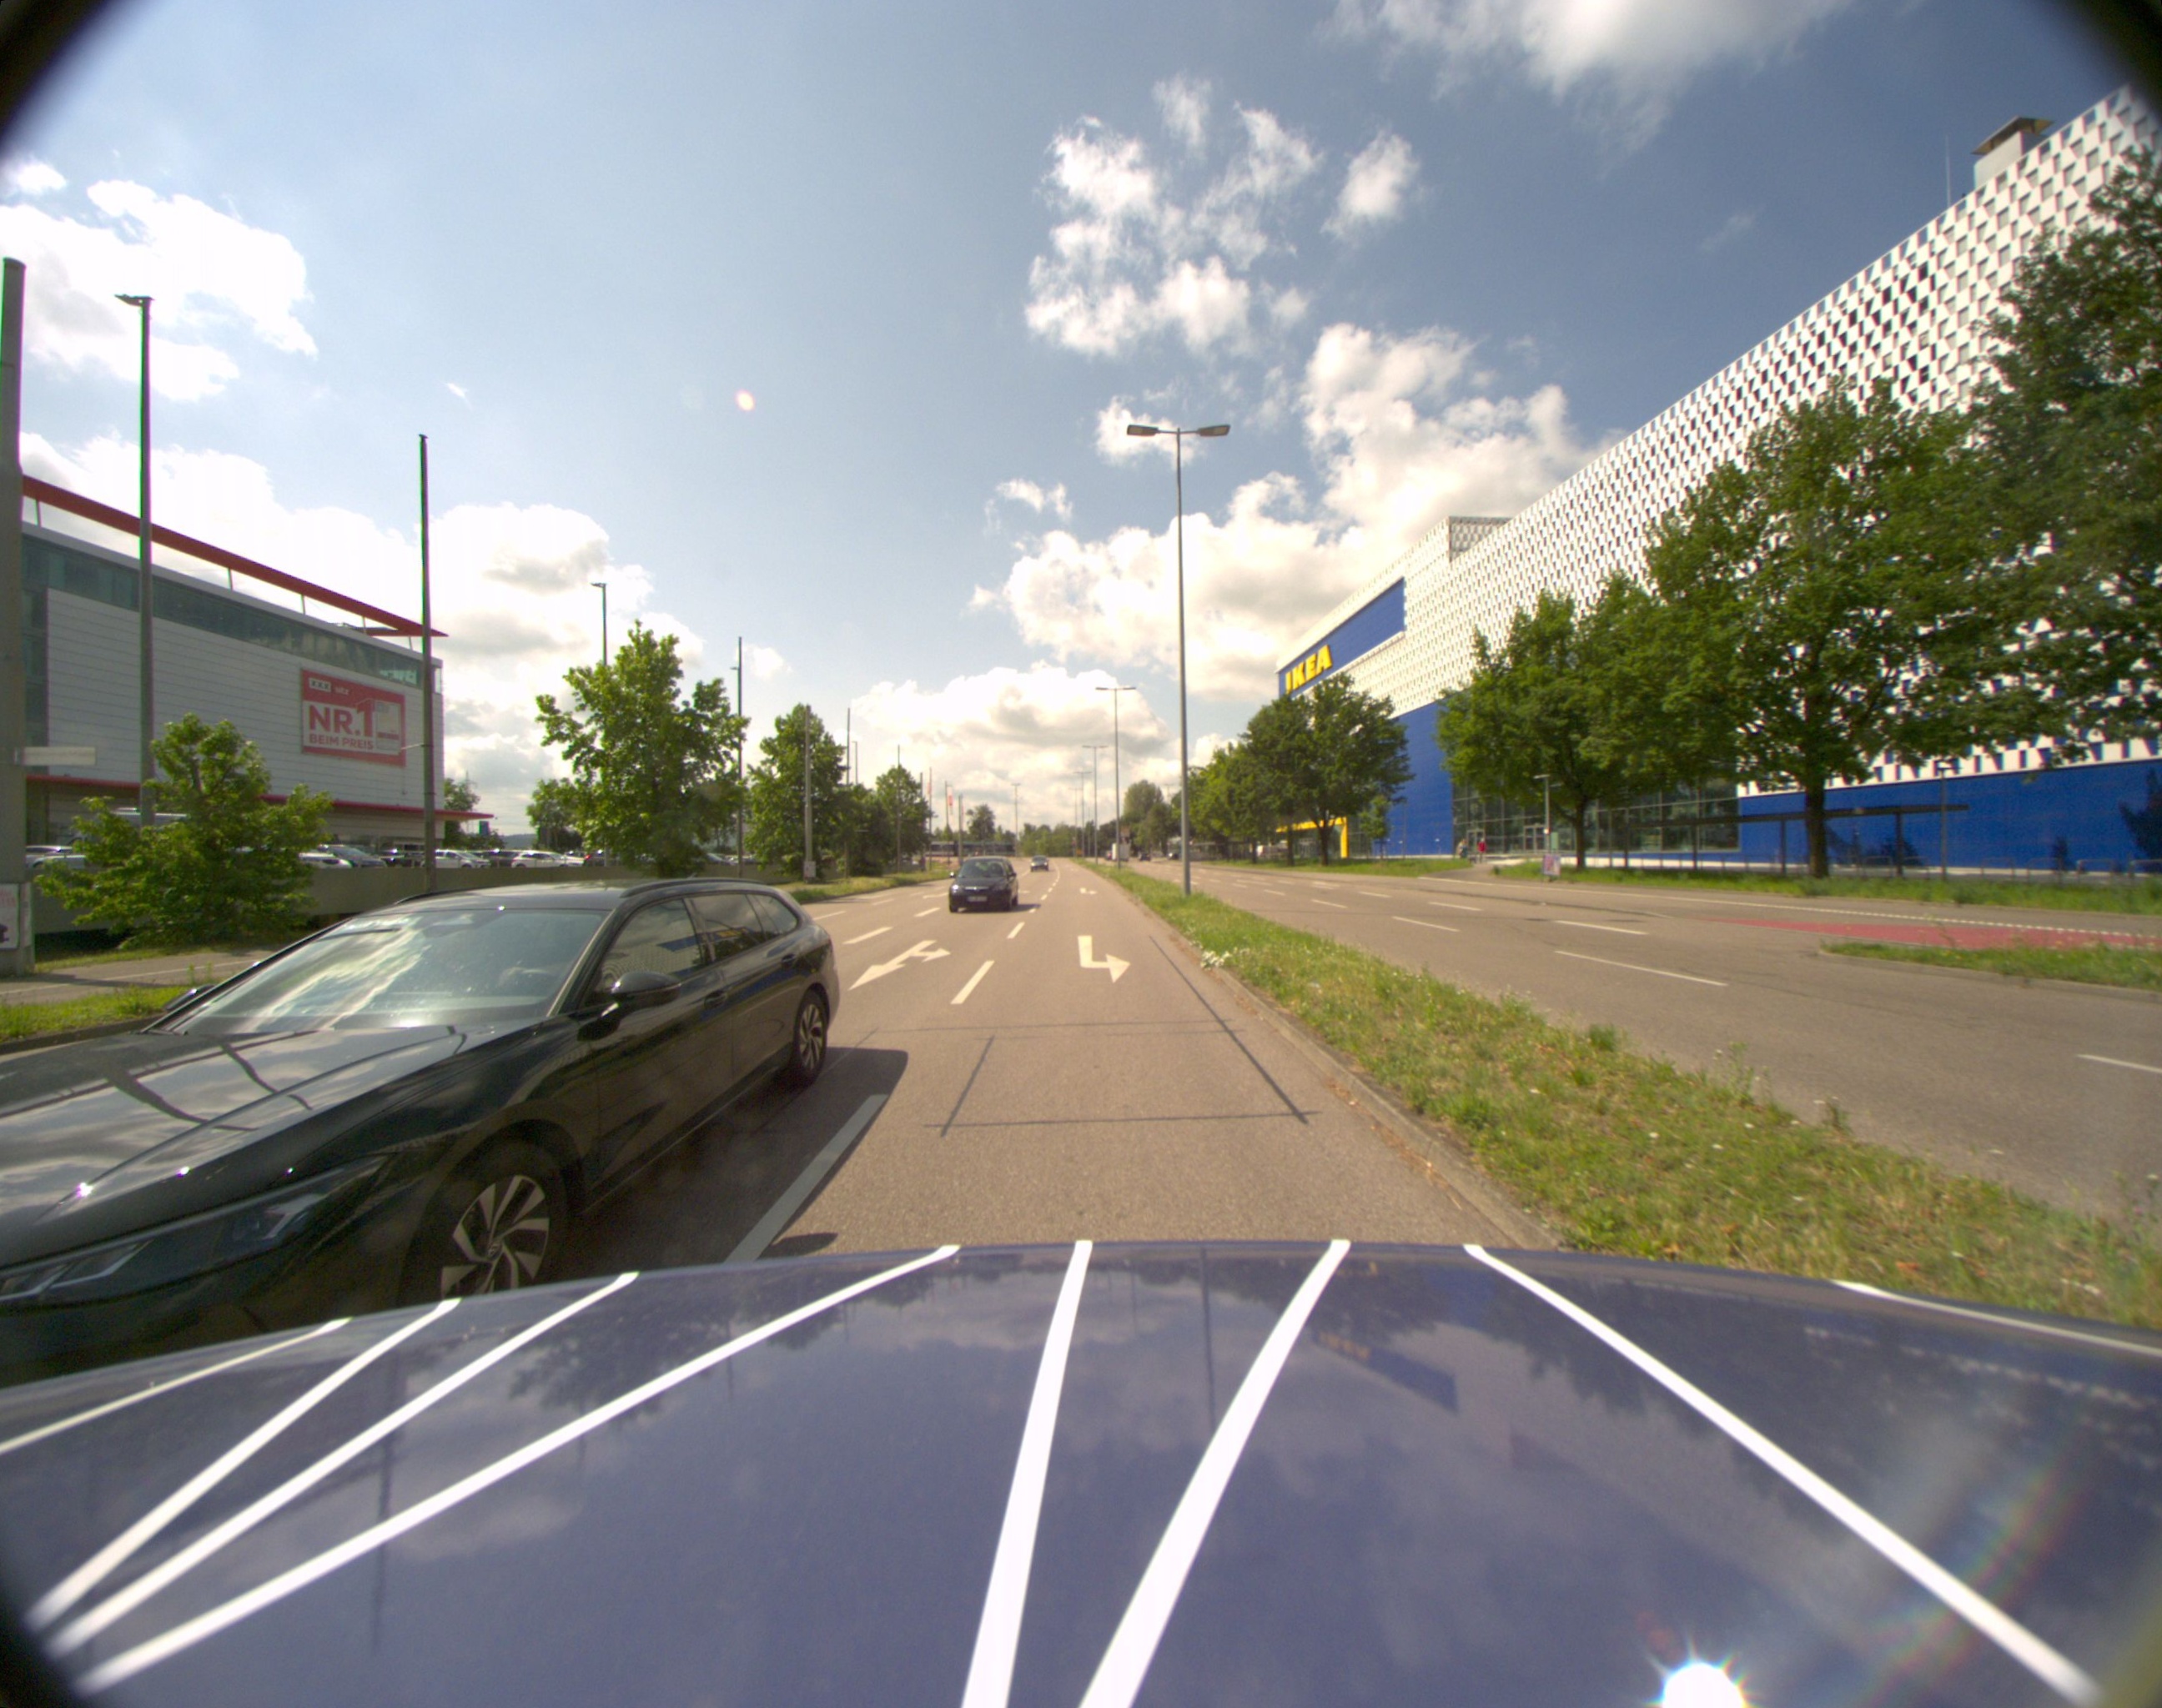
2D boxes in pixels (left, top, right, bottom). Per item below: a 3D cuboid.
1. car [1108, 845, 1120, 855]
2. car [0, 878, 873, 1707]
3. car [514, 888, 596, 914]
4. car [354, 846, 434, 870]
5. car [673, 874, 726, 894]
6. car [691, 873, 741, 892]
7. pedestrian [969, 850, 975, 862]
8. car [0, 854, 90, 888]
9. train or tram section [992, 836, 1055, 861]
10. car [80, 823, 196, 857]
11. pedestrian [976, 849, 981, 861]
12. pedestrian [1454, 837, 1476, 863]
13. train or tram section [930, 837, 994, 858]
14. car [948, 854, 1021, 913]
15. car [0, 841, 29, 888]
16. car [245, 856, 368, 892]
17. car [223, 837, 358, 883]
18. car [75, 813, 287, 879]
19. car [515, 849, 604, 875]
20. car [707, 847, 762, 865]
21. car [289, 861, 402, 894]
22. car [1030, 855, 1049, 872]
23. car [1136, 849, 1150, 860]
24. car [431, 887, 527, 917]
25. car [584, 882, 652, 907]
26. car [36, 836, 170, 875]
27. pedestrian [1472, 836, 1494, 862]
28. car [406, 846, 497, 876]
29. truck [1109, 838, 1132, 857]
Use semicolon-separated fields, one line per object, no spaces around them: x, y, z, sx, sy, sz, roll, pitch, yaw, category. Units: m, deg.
5.602;-0.720;128.825;1.941;1.674;3.999;-2;1;0;car
-2.675;0.983;3.811;1.813;1.469;5.203;-2;1;0;car
-37.794;3.395;54.697;4.421;1.596;1.954;-2;1;-2;car
-49.569;0.270;54.817;4.416;1.596;1.956;-2;1;11;car
-38.336;3.021;76.346;4.421;1.754;1.559;-2;1;-3;car
-38.528;2.998;80.252;4.421;1.754;1.559;-2;1;-3;car
-17.362;0.293;120.619;0.705;1.803;0.544;-3;2;-26;pedestrian
-53.498;0.896;38.742;4.415;1.596;1.957;-2;1;14;car
-12.131;-1.165;161.543;13.099;4.646;3.730;-2;1;-2;train or tram section
-53.348;-0.788;43.031;3.997;1.740;1.916;-2;1;-1;car
-16.294;0.189;120.806;0.527;1.803;0.676;-3;2;-14;pedestrian
26.180;-0.300;51.799;0.854;1.718;1.164;-2;1;2;pedestrian
-25.091;-1.397;160.928;13.099;4.346;3.730;0;1;-2;train or tram section
-2.704;0.785;22.105;1.606;1.521;4.269;-1;0;-1;car
-38.844;0.431;25.458;4.420;1.596;1.955;-2;1;1;car
-38.710;0.998;38.033;4.417;1.596;1.956;-2;1;7;car
-34.543;0.243;33.269;3.997;1.784;1.749;-2;1;1;car
-35.090;-0.331;29.753;5.796;2.270;1.748;-2;1;-3;car
-34.229;0.509;49.922;4.420;1.596;1.954;-2;1;-1;car
-33.714;0.220;73.980;4.420;1.596;1.954;-2;1;-1;car
-39.478;1.261;40.836;4.417;1.596;1.956;-2;1;7;car
-3.966;0.902;73.680;1.606;1.521;4.269;-1;0;-1;car
10.373;0.085;127.766;1.941;1.674;3.999;-2;1;0;car
-37.365;2.973;47.233;4.419;1.596;1.955;-2;1;2;car
-37.713;3.263;61.988;4.421;1.754;1.559;-2;1;-3;car
-48.368;0.042;37.641;3.997;1.740;1.916;-2;1;-1;car
27.377;-0.347;51.740;0.854;1.718;1.164;-2;1;2;pedestrian
-41.076;0.465;49.665;4.421;1.754;1.559;-2;1;-3;car
6.135;-1.037;117.914;2.973;2.736;5.782;-2;1;-2;truck
